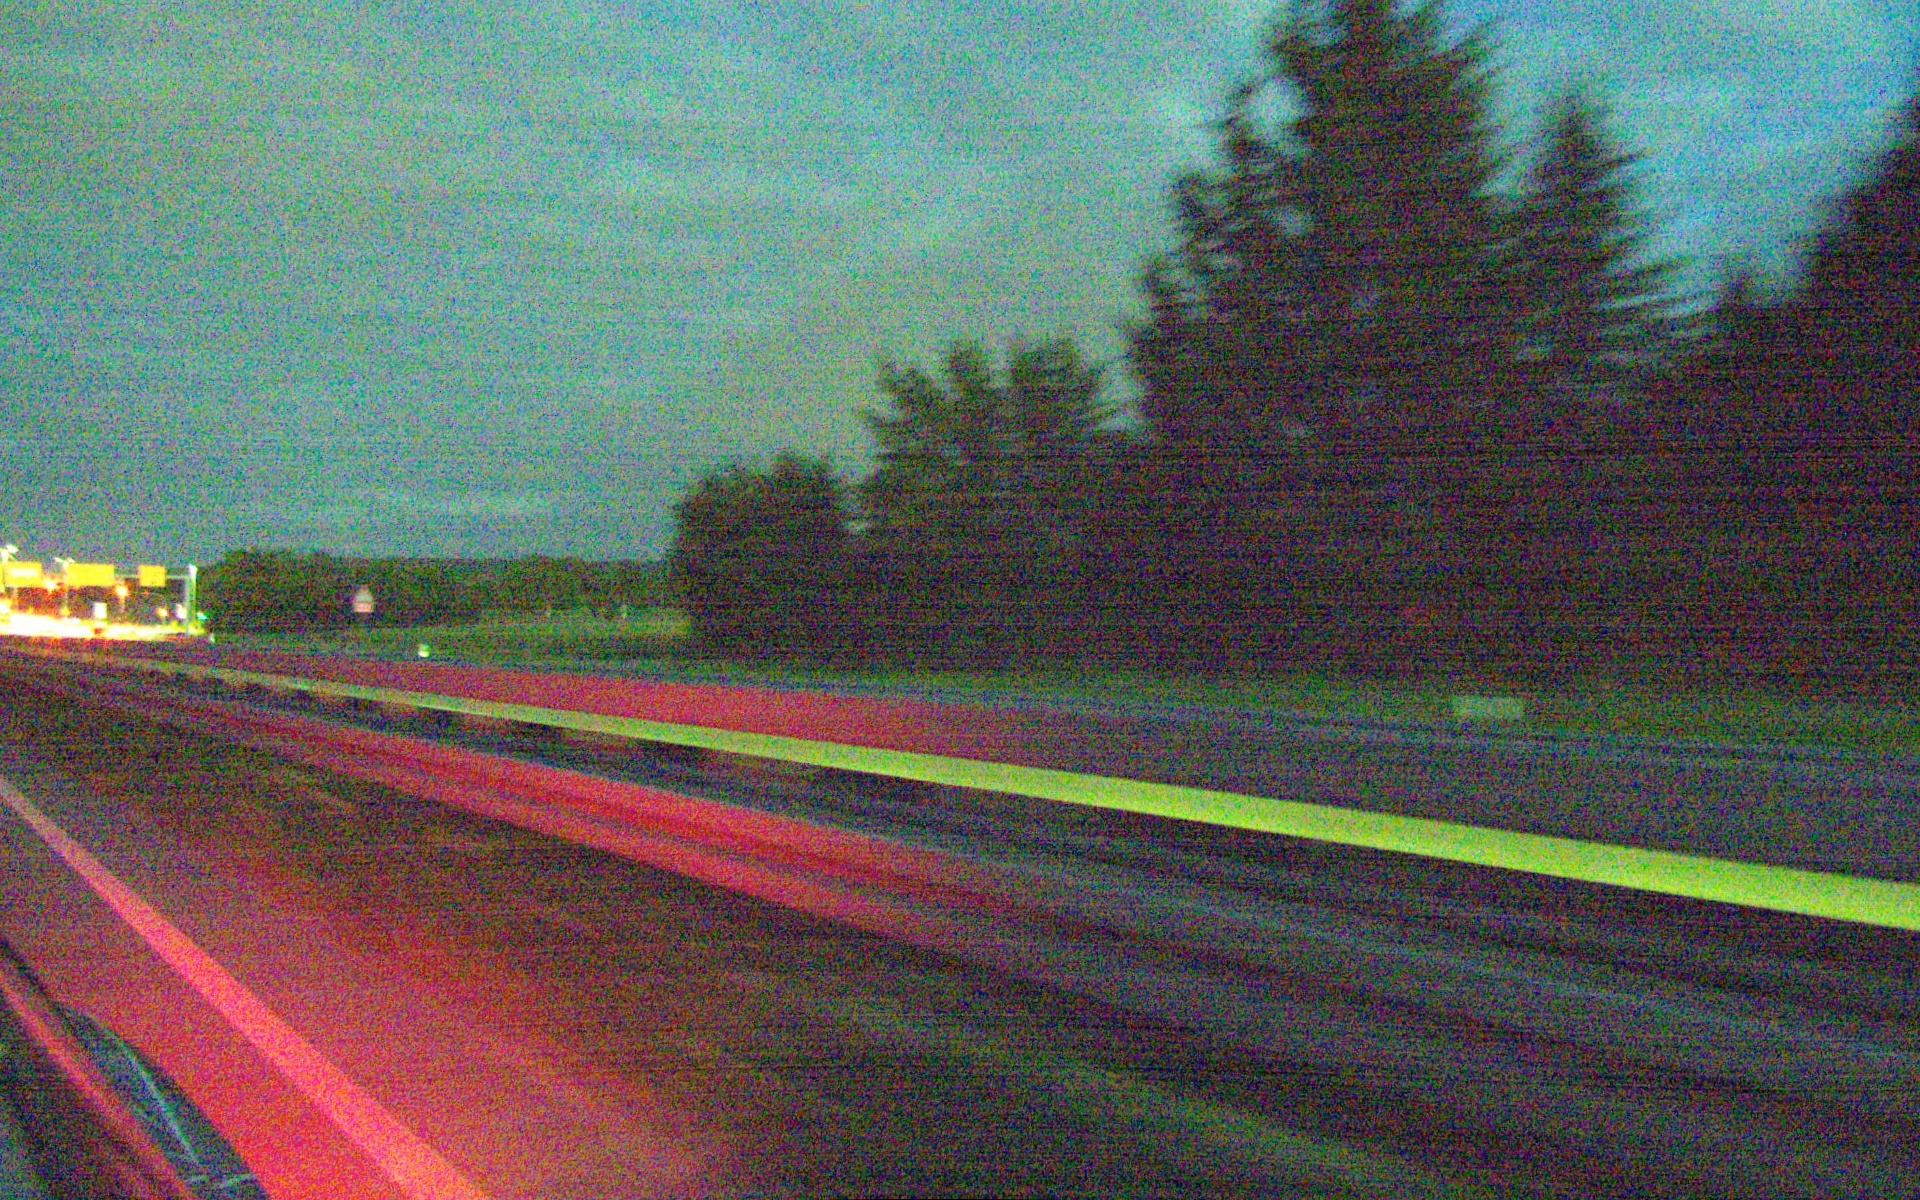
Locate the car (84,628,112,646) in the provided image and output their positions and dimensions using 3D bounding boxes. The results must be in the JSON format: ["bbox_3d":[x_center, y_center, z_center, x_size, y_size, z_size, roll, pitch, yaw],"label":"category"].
[{"bbox_3d":[-75.099,3.208,88.168,1.698,1.458,4.390,-1,0,-39],"label":"car"}]

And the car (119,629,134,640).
[{"bbox_3d":[-120.067,4.967,145.763,1.632,1.487,4.007,-1,0,-39],"label":"car"}]
